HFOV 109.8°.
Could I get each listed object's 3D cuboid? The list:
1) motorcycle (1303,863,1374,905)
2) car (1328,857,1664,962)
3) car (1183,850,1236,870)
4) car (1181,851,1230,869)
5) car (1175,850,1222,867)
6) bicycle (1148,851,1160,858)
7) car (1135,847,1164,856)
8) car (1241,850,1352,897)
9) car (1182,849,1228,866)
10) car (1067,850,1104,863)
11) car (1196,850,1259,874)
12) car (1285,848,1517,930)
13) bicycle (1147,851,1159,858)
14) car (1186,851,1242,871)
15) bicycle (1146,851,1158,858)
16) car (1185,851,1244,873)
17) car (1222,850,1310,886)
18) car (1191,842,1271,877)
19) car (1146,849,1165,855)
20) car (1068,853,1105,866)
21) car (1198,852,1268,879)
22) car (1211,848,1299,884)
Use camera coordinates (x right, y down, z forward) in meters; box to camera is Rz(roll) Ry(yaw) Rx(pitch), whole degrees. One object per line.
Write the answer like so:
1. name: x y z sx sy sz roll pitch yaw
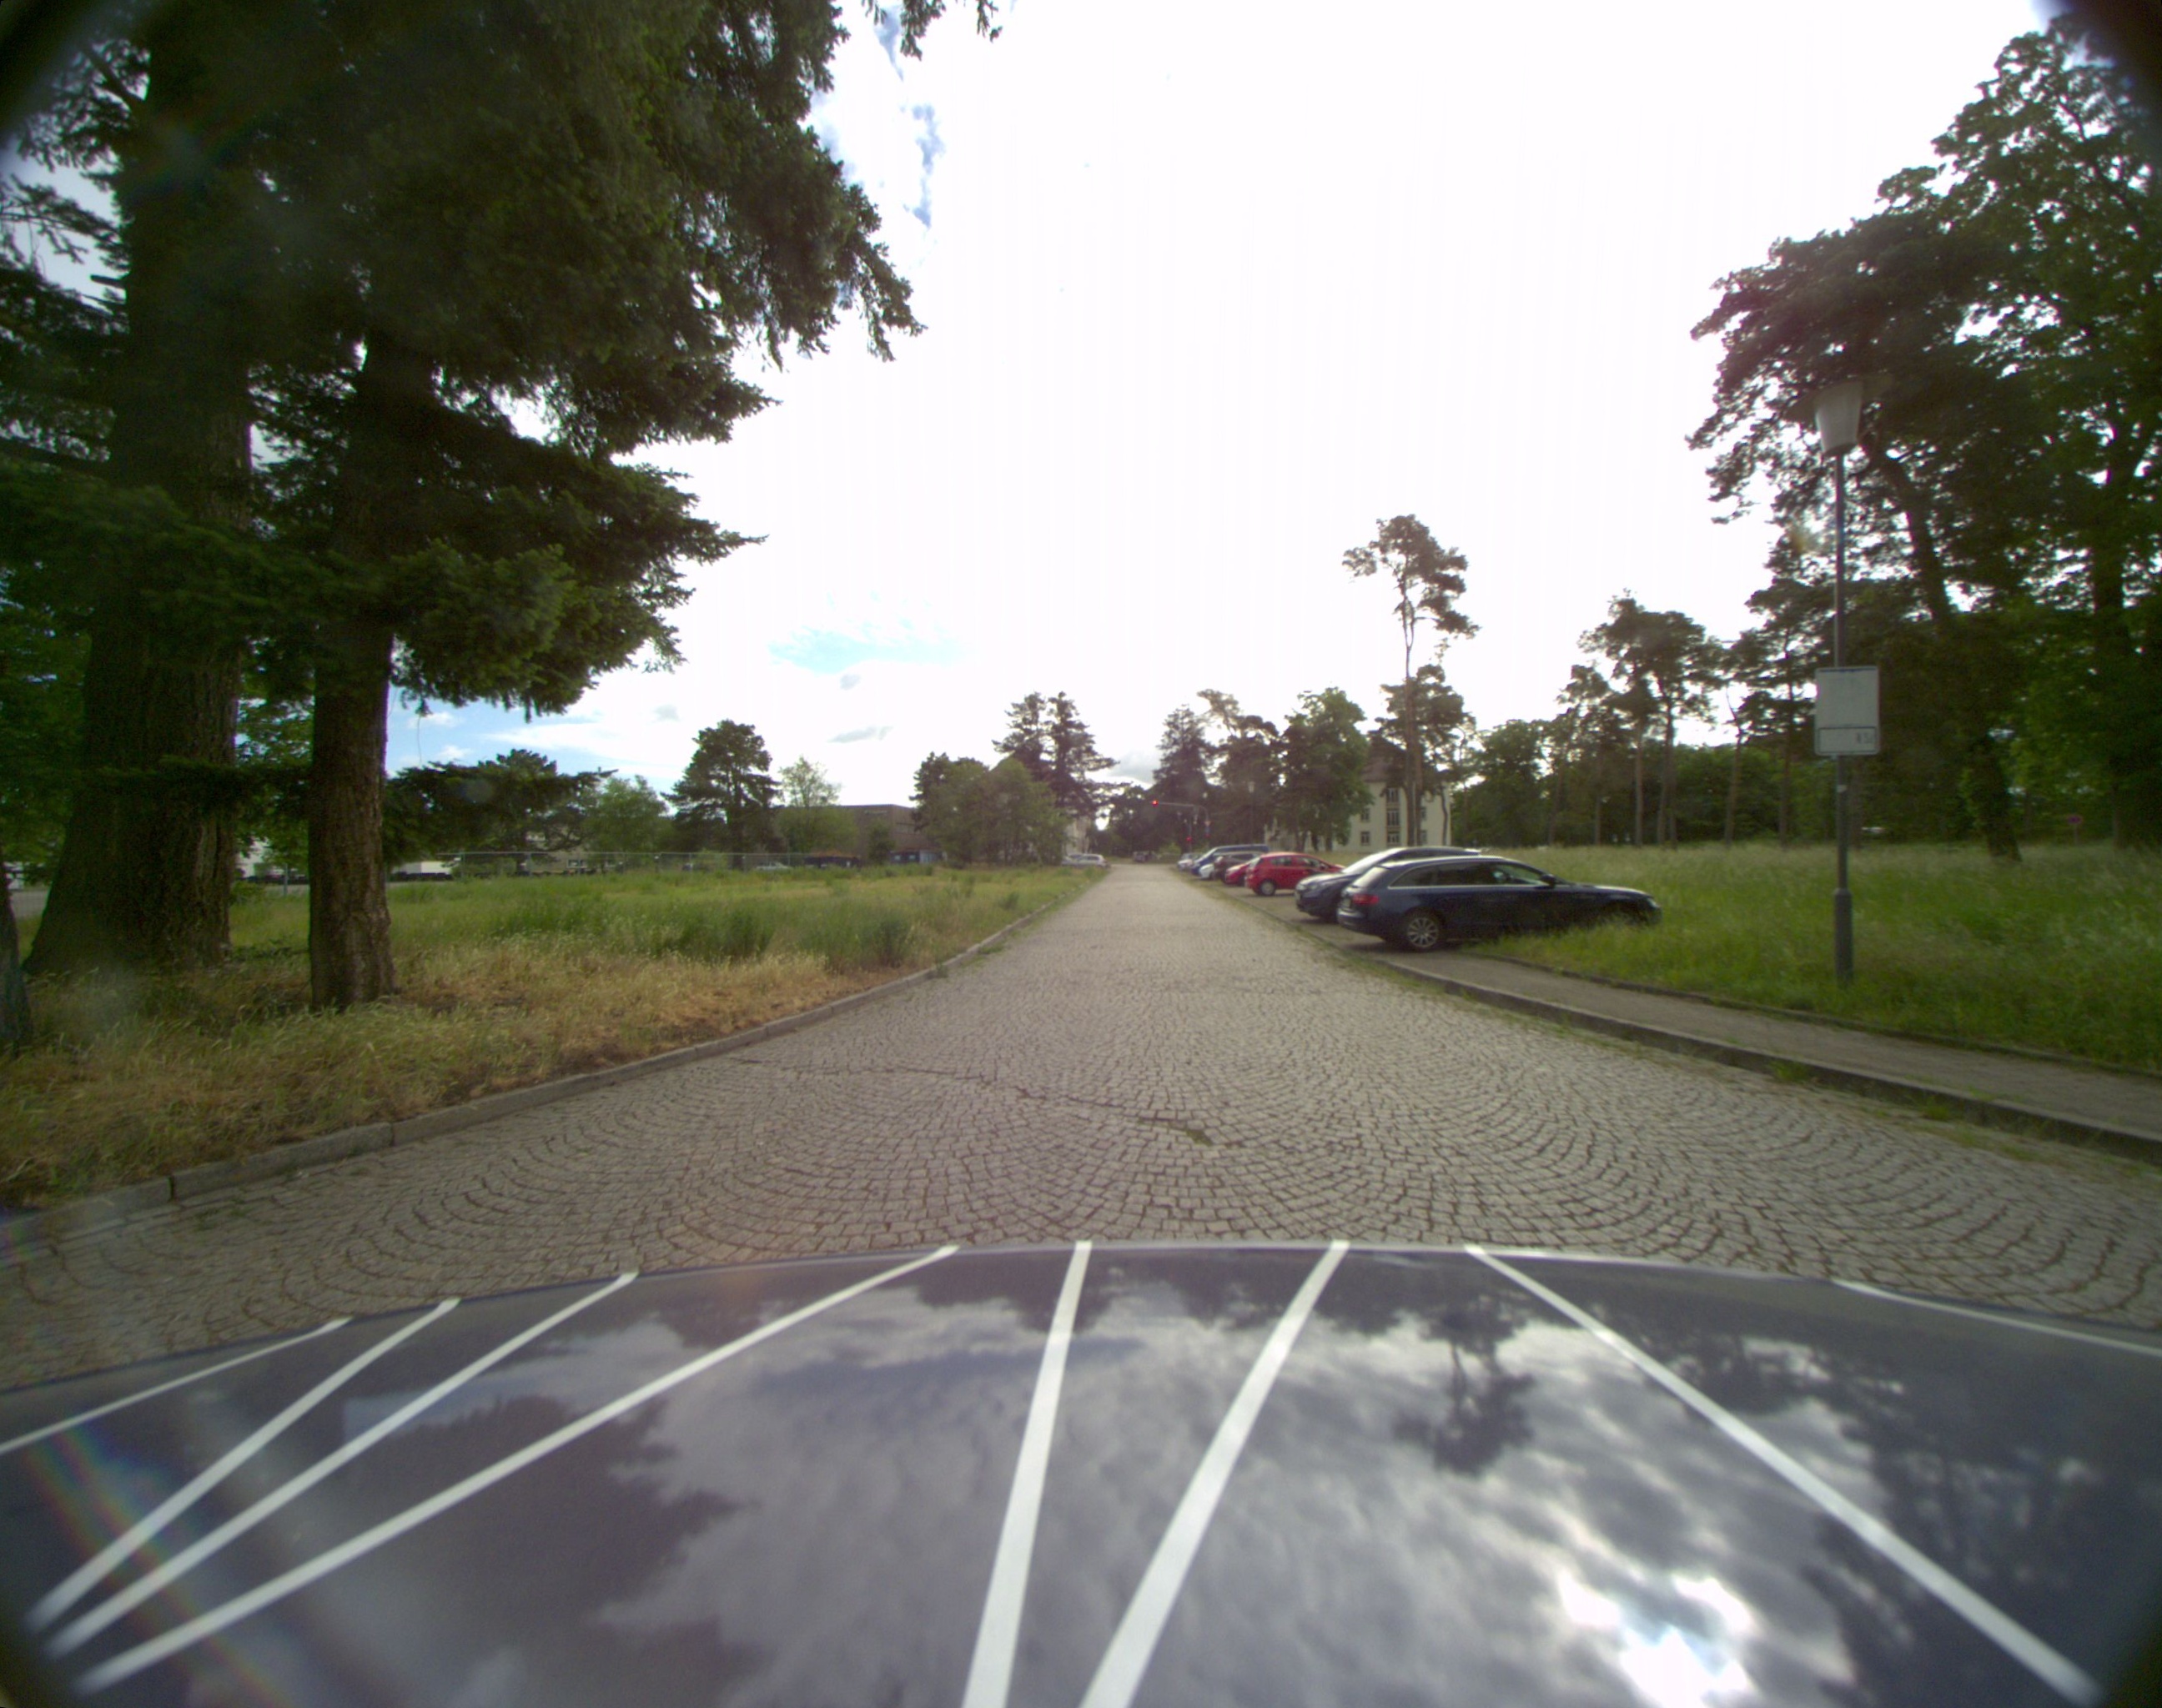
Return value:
1. motorcycle: 7.611 0.884 22.515 1.913 1.186 0.550 -1 1 -1
2. car: 6.387 0.849 12.154 4.349 1.397 1.765 -2 1 7
3. car: 10.150 0.488 60.183 3.949 1.331 1.584 -3 1 3
4. car: 10.556 0.506 64.564 3.949 1.331 1.584 -3 1 3
5. car: 10.451 0.424 67.966 3.949 1.331 1.584 -3 1 3
6. bicycle: 11.584 0.099 120.338 1.861 1.089 0.511 -1 1 -3
7. car: 12.260 -0.424 136.842 4.984 1.612 1.901 -1 1 -3
8. car: 7.634 0.670 27.121 3.496 1.473 1.602 -3 1 3
9. car: 11.418 0.290 69.962 3.949 1.331 1.584 -3 1 3
10. car: 0.481 0.279 75.184 3.592 1.204 1.584 -1 1 3
11. car: 9.905 0.517 51.408 3.949 1.426 1.584 -3 1 3
12. car: 6.949 0.736 16.827 4.361 1.553 1.764 -2 1 3
13. bicycle: 11.328 0.117 119.527 1.861 1.089 0.511 -1 1 -3
14. car: 10.023 0.517 57.470 3.949 1.331 1.584 -3 1 3
15. bicycle: 11.150 0.131 119.102 1.861 1.089 0.511 -1 1 -3
16. car: 9.573 0.546 54.508 3.949 1.331 1.584 -3 1 3
17. car: 8.412 0.624 34.751 3.660 1.413 1.577 -3 1 2
18. car: 9.083 0.329 46.294 4.541 1.891 1.793 -3 1 3
19. car: 13.031 -0.343 133.517 3.117 1.046 1.339 -1 1 -3
20. car: 0.516 0.471 69.791 3.267 1.081 1.449 -1 1 0
21. car: 8.716 0.653 43.796 3.691 1.331 1.584 -3 1 3
22. car: 8.512 0.593 37.456 3.949 1.536 1.764 -3 1 3
